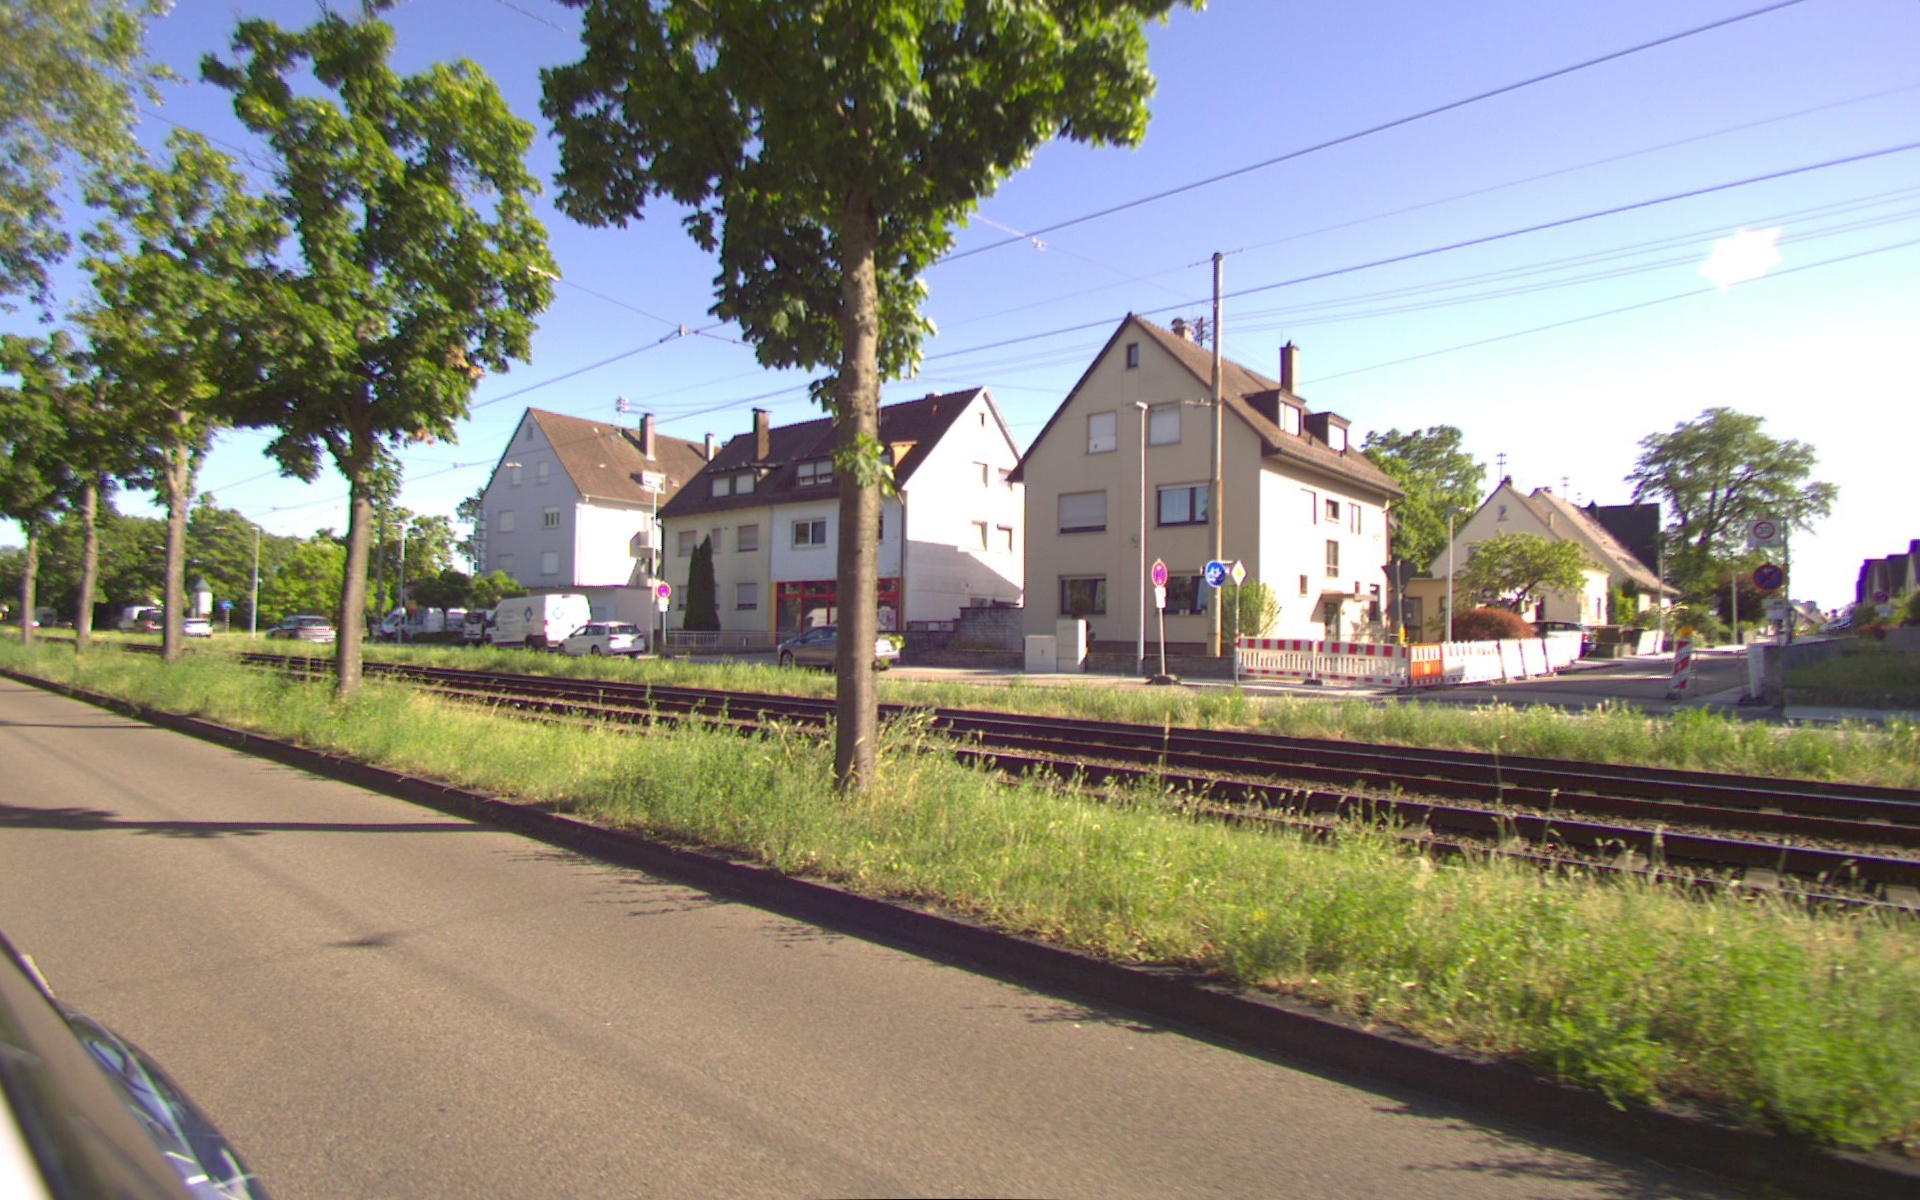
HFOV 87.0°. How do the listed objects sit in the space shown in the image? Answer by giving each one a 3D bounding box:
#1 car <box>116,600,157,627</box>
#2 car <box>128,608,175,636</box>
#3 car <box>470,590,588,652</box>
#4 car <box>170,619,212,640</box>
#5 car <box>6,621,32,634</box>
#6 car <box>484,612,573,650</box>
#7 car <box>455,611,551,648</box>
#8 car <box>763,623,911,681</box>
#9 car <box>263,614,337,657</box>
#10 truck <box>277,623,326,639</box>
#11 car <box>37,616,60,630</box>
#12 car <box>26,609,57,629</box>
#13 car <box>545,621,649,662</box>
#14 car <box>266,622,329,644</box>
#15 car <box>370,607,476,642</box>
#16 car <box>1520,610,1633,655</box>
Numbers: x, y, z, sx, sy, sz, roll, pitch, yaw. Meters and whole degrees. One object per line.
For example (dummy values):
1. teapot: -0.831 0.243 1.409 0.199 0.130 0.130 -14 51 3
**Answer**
1. car: -78.243 1.256 96.102 6.133 2.515 1.981 0 0 41
2. car: -72.229 1.911 90.367 6.462 2.394 2.160 0 0 41
3. car: -18.687 0.853 43.679 6.671 2.478 1.973 0 0 41
4. car: -62.254 2.351 81.935 4.772 1.619 1.804 0 0 42
5. car: -104.032 3.068 111.903 3.998 1.420 1.659 -1 -2 41
6. car: -23.367 1.637 54.968 1.992 1.967 4.108 -1 -1 30
7. car: -25.402 1.631 56.394 1.992 1.960 4.585 0 -1 30
8. car: -3.780 1.514 30.650 4.496 1.593 1.972 -1 -1 42
9. car: -31.592 1.661 48.410 4.523 1.897 1.895 0 0 42
10. truck: -82.464 3.823 126.880 2.069 1.883 4.907 0 0 21
11. car: -115.903 2.921 128.629 4.530 1.635 1.605 0 0 41
12. car: -121.444 2.536 133.778 6.795 2.600 2.202 -1 -1 41
13. car: -14.311 1.581 39.802 4.655 1.423 1.806 0 0 41
14. car: -46.115 2.270 70.530 3.564 1.489 1.755 1 -2 -32
15. car: -41.409 1.832 78.268 2.326 2.526 7.003 -1 -1 36
16. car: 29.224 1.491 48.039 4.334 2.029 1.972 0 0 42
